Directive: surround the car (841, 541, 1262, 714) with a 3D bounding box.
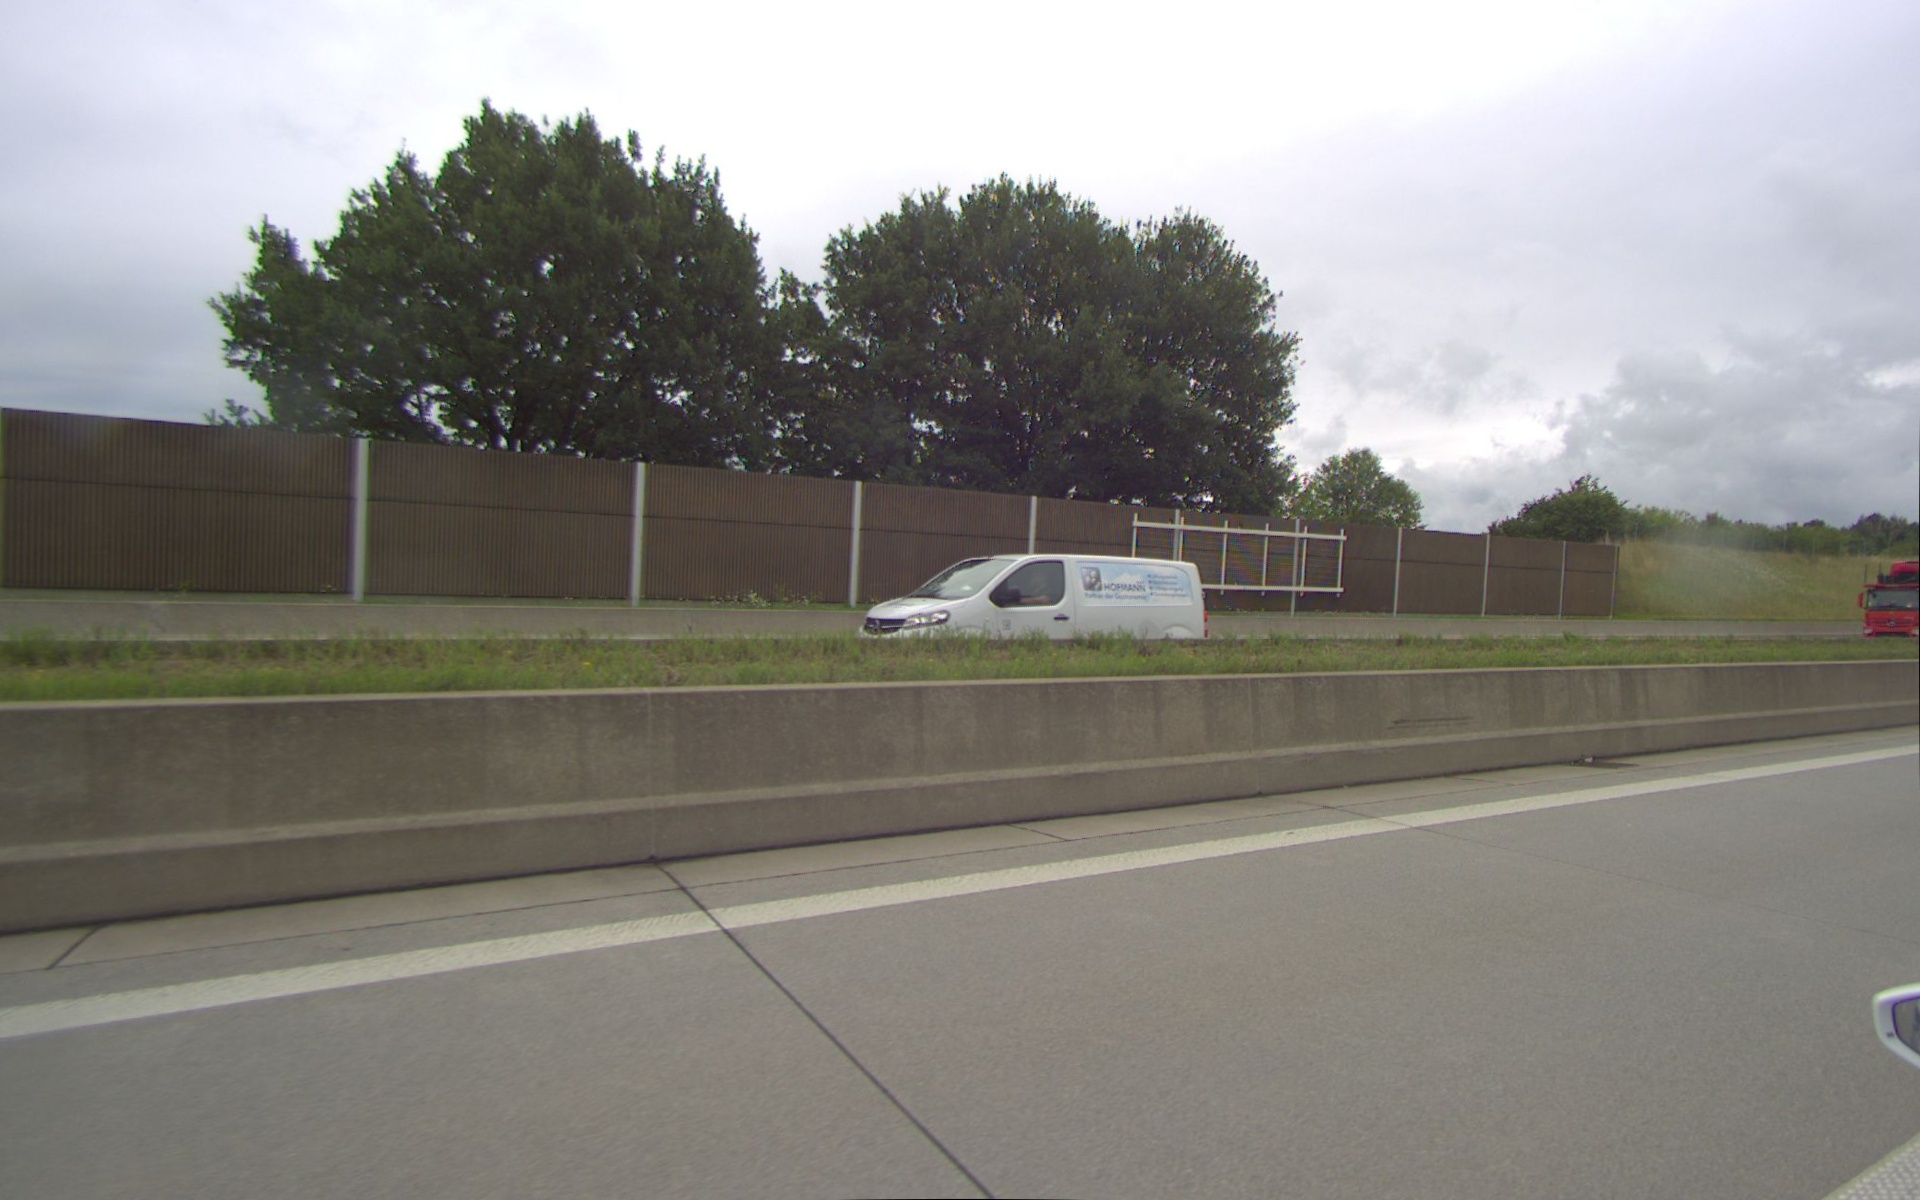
[{"bbox_3d":[1.329,0.343,13.341,5.450,1.911,1.983,1,0,-31],"label":"car"}]

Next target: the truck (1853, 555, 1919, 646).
[{"bbox_3d":[47.851,0.084,50.318,7.379,4.308,2.539,1,0,-31],"label":"truck"}]

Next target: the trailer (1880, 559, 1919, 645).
[{"bbox_3d":[53.650,0.258,53.850,13.828,4.274,2.539,2,0,-31],"label":"trailer"}]
